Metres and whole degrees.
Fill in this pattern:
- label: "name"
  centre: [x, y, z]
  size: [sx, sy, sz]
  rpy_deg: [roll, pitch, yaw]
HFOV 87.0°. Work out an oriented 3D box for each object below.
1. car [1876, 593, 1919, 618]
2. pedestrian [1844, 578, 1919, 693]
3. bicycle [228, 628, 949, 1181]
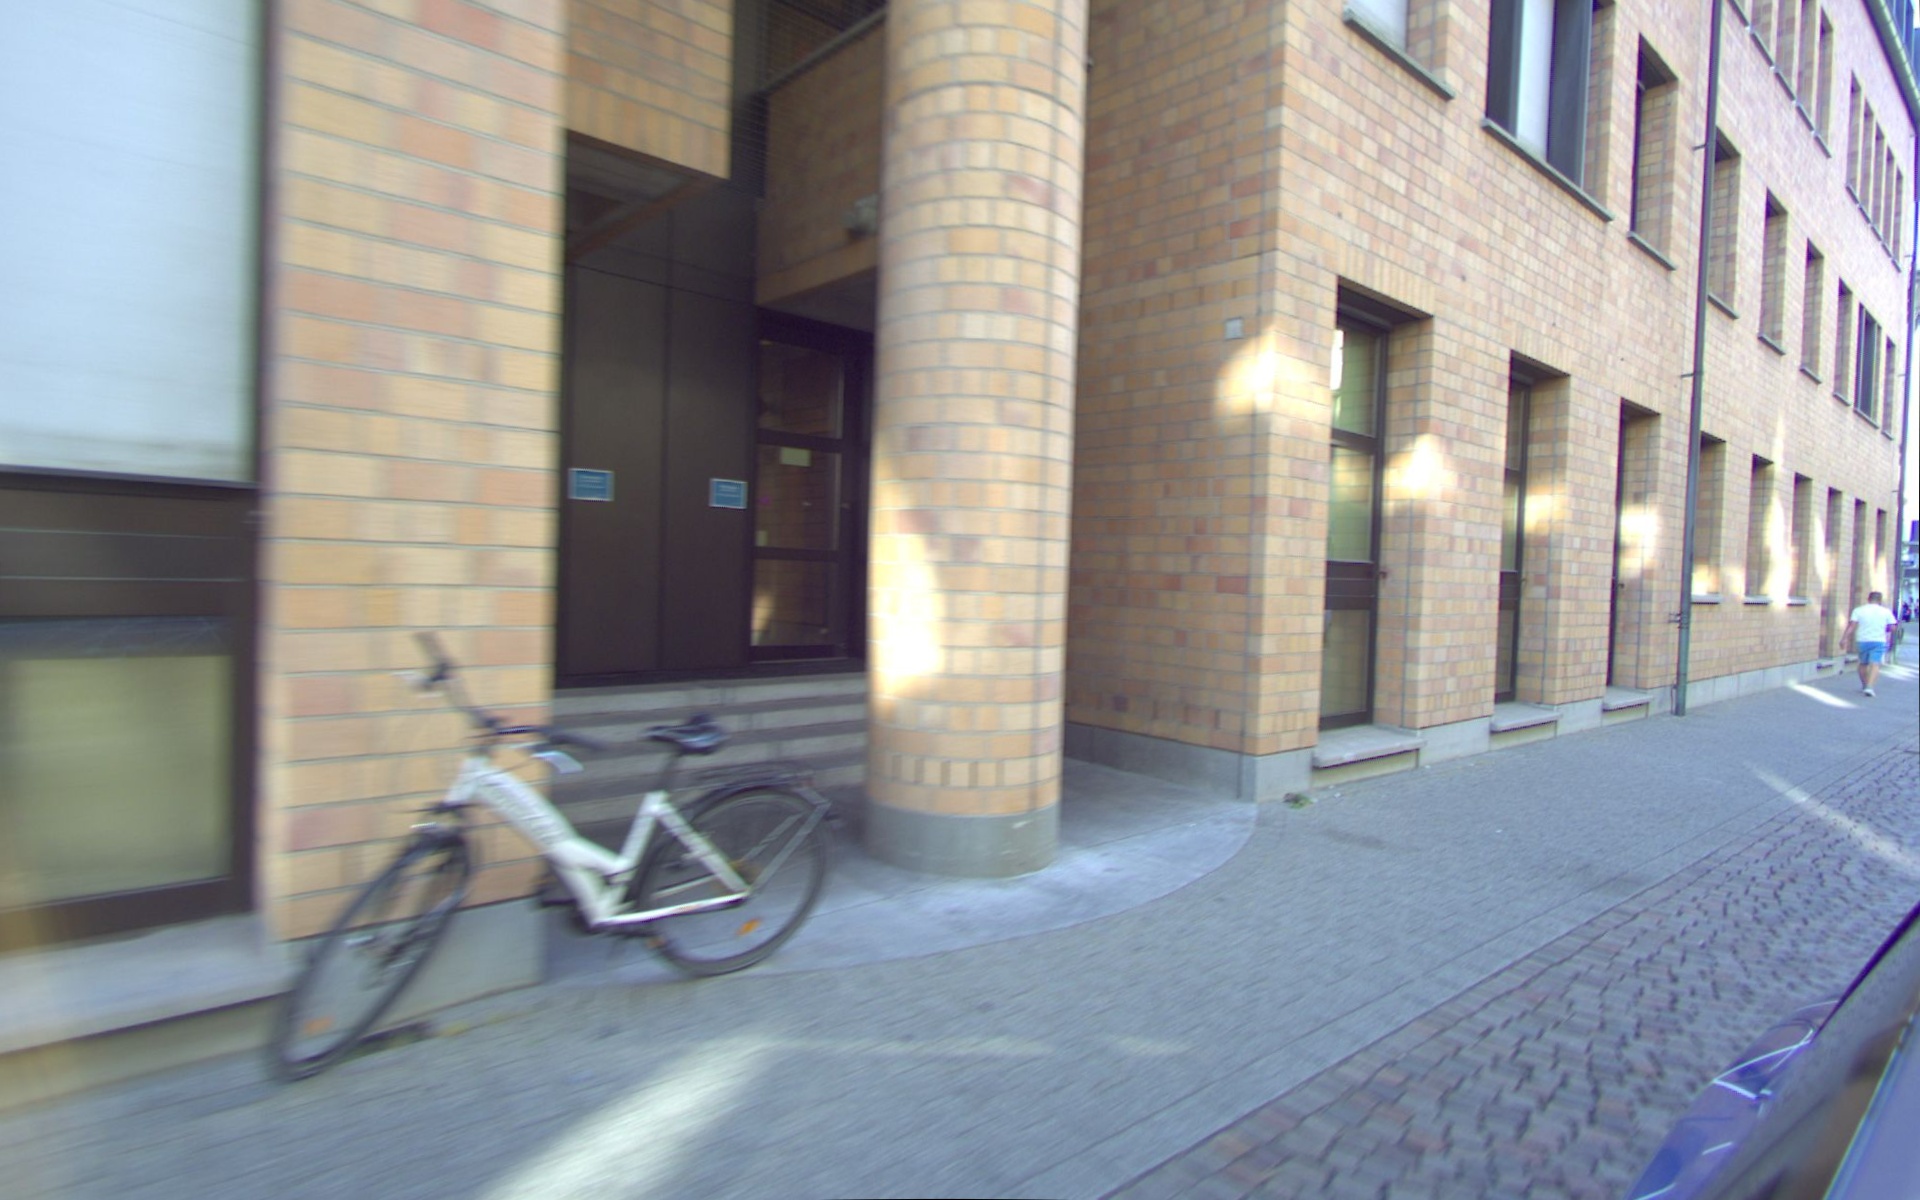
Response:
- label: "car"
  centre: [65.357, 0.381, 70.361]
  size: [1.845, 1.612, 3.760]
  rpy_deg: [4, 2, 33]
- label: "pedestrian"
  centre: [14.776, 0.544, 16.165]
  size: [0.807, 1.737, 0.762]
  rpy_deg: [1, 4, -41]
- label: "bicycle"
  centre: [-0.971, 0.693, 3.059]
  size: [1.949, 1.116, 0.551]
  rpy_deg: [0, 6, -43]
